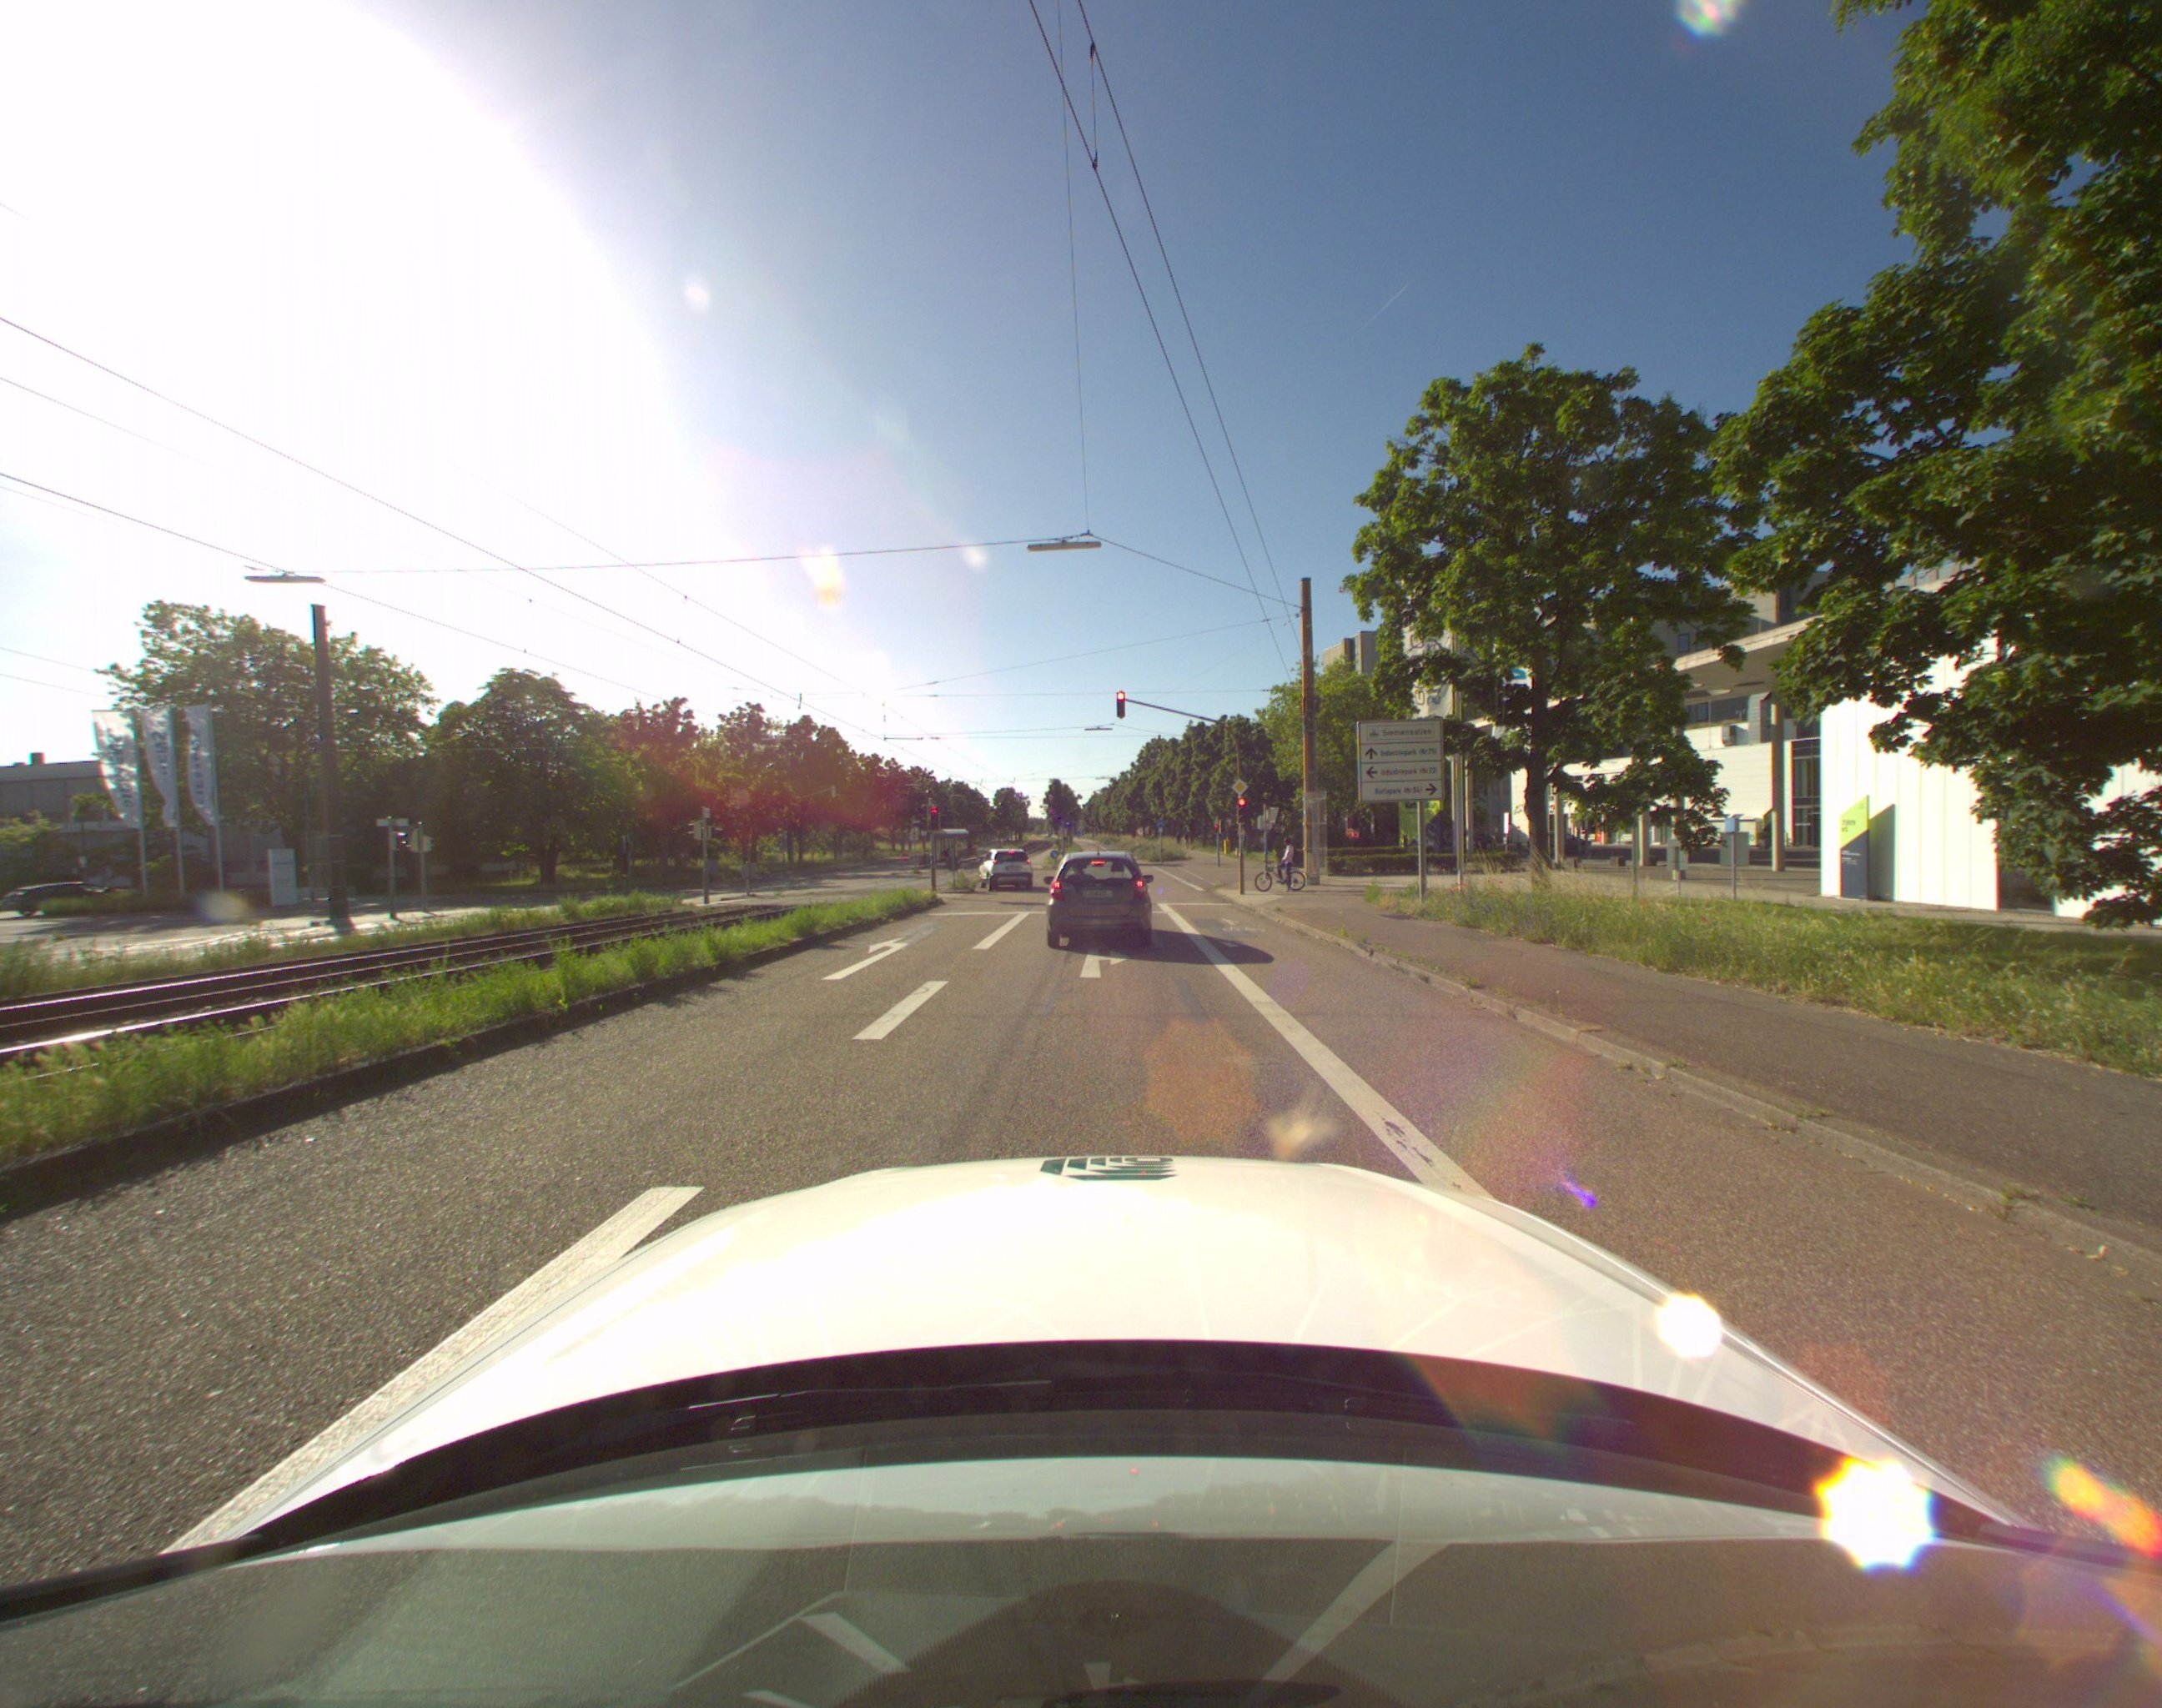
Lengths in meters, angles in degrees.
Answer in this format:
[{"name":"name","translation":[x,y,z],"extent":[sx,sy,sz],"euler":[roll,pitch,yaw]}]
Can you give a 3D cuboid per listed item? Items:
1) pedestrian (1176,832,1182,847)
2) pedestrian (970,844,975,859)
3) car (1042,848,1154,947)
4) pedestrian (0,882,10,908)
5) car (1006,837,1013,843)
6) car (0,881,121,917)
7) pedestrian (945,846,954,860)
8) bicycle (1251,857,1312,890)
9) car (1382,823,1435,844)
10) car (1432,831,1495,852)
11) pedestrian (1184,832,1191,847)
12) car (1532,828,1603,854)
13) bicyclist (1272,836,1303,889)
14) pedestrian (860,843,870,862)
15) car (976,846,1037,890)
[{"name":"pedestrian","translation":[10.537,-1.575,87.948],"extent":[0.565,1.596,0.665],"euler":[0,0,-2]},{"name":"pedestrian","translation":[-11.806,-0.287,88.670],"extent":[0.502,1.675,0.386],"euler":[-1,0,-10]},{"name":"car","translation":[0.353,0.652,14.400],"extent":[1.700,1.508,4.003],"euler":[0,0,3]},{"name":"pedestrian","translation":[-65.536,2.476,49.137],"extent":[0.757,1.529,0.826],"euler":[-1,0,10]},{"name":"car","translation":[-21.025,-4.003,239.657],"extent":[1.761,1.738,3.999],"euler":[-1,0,0]},{"name":"car","translation":[-50.946,2.198,40.542],"extent":[1.685,1.488,3.862],"euler":[-1,1,1]},{"name":"pedestrian","translation":[-11.956,-0.119,74.055],"extent":[0.718,1.246,0.711],"euler":[-2,0,0]},{"name":"bicycle","translation":[6.708,0.659,27.280],"extent":[1.907,0.998,0.767],"euler":[-3,-1,12]},{"name":"car","translation":[29.719,-1.853,73.951],"extent":[3.988,1.757,1.993],"euler":[-1,0,-11]},{"name":"car","translation":[31.691,-1.026,67.482],"extent":[4.538,1.629,1.869],"euler":[-1,0,-11]},{"name":"pedestrian","translation":[11.521,-1.547,87.991],"extent":[0.676,1.610,0.720],"euler":[0,0,-1]},{"name":"car","translation":[34.177,-0.939,57.215],"extent":[3.984,1.720,1.895],"euler":[-1,0,-8]},{"name":"bicyclist","translation":[6.897,0.280,27.236],"extent":[0.904,1.745,0.767],"euler":[-3,0,12]},{"name":"pedestrian","translation":[-23.684,-0.193,89.325],"extent":[0.837,2.013,0.863],"euler":[-1,0,0]},{"name":"car","translation":[-3.049,0.529,32.713],"extent":[1.853,1.606,4.235],"euler":[-1,0,-13]}]
